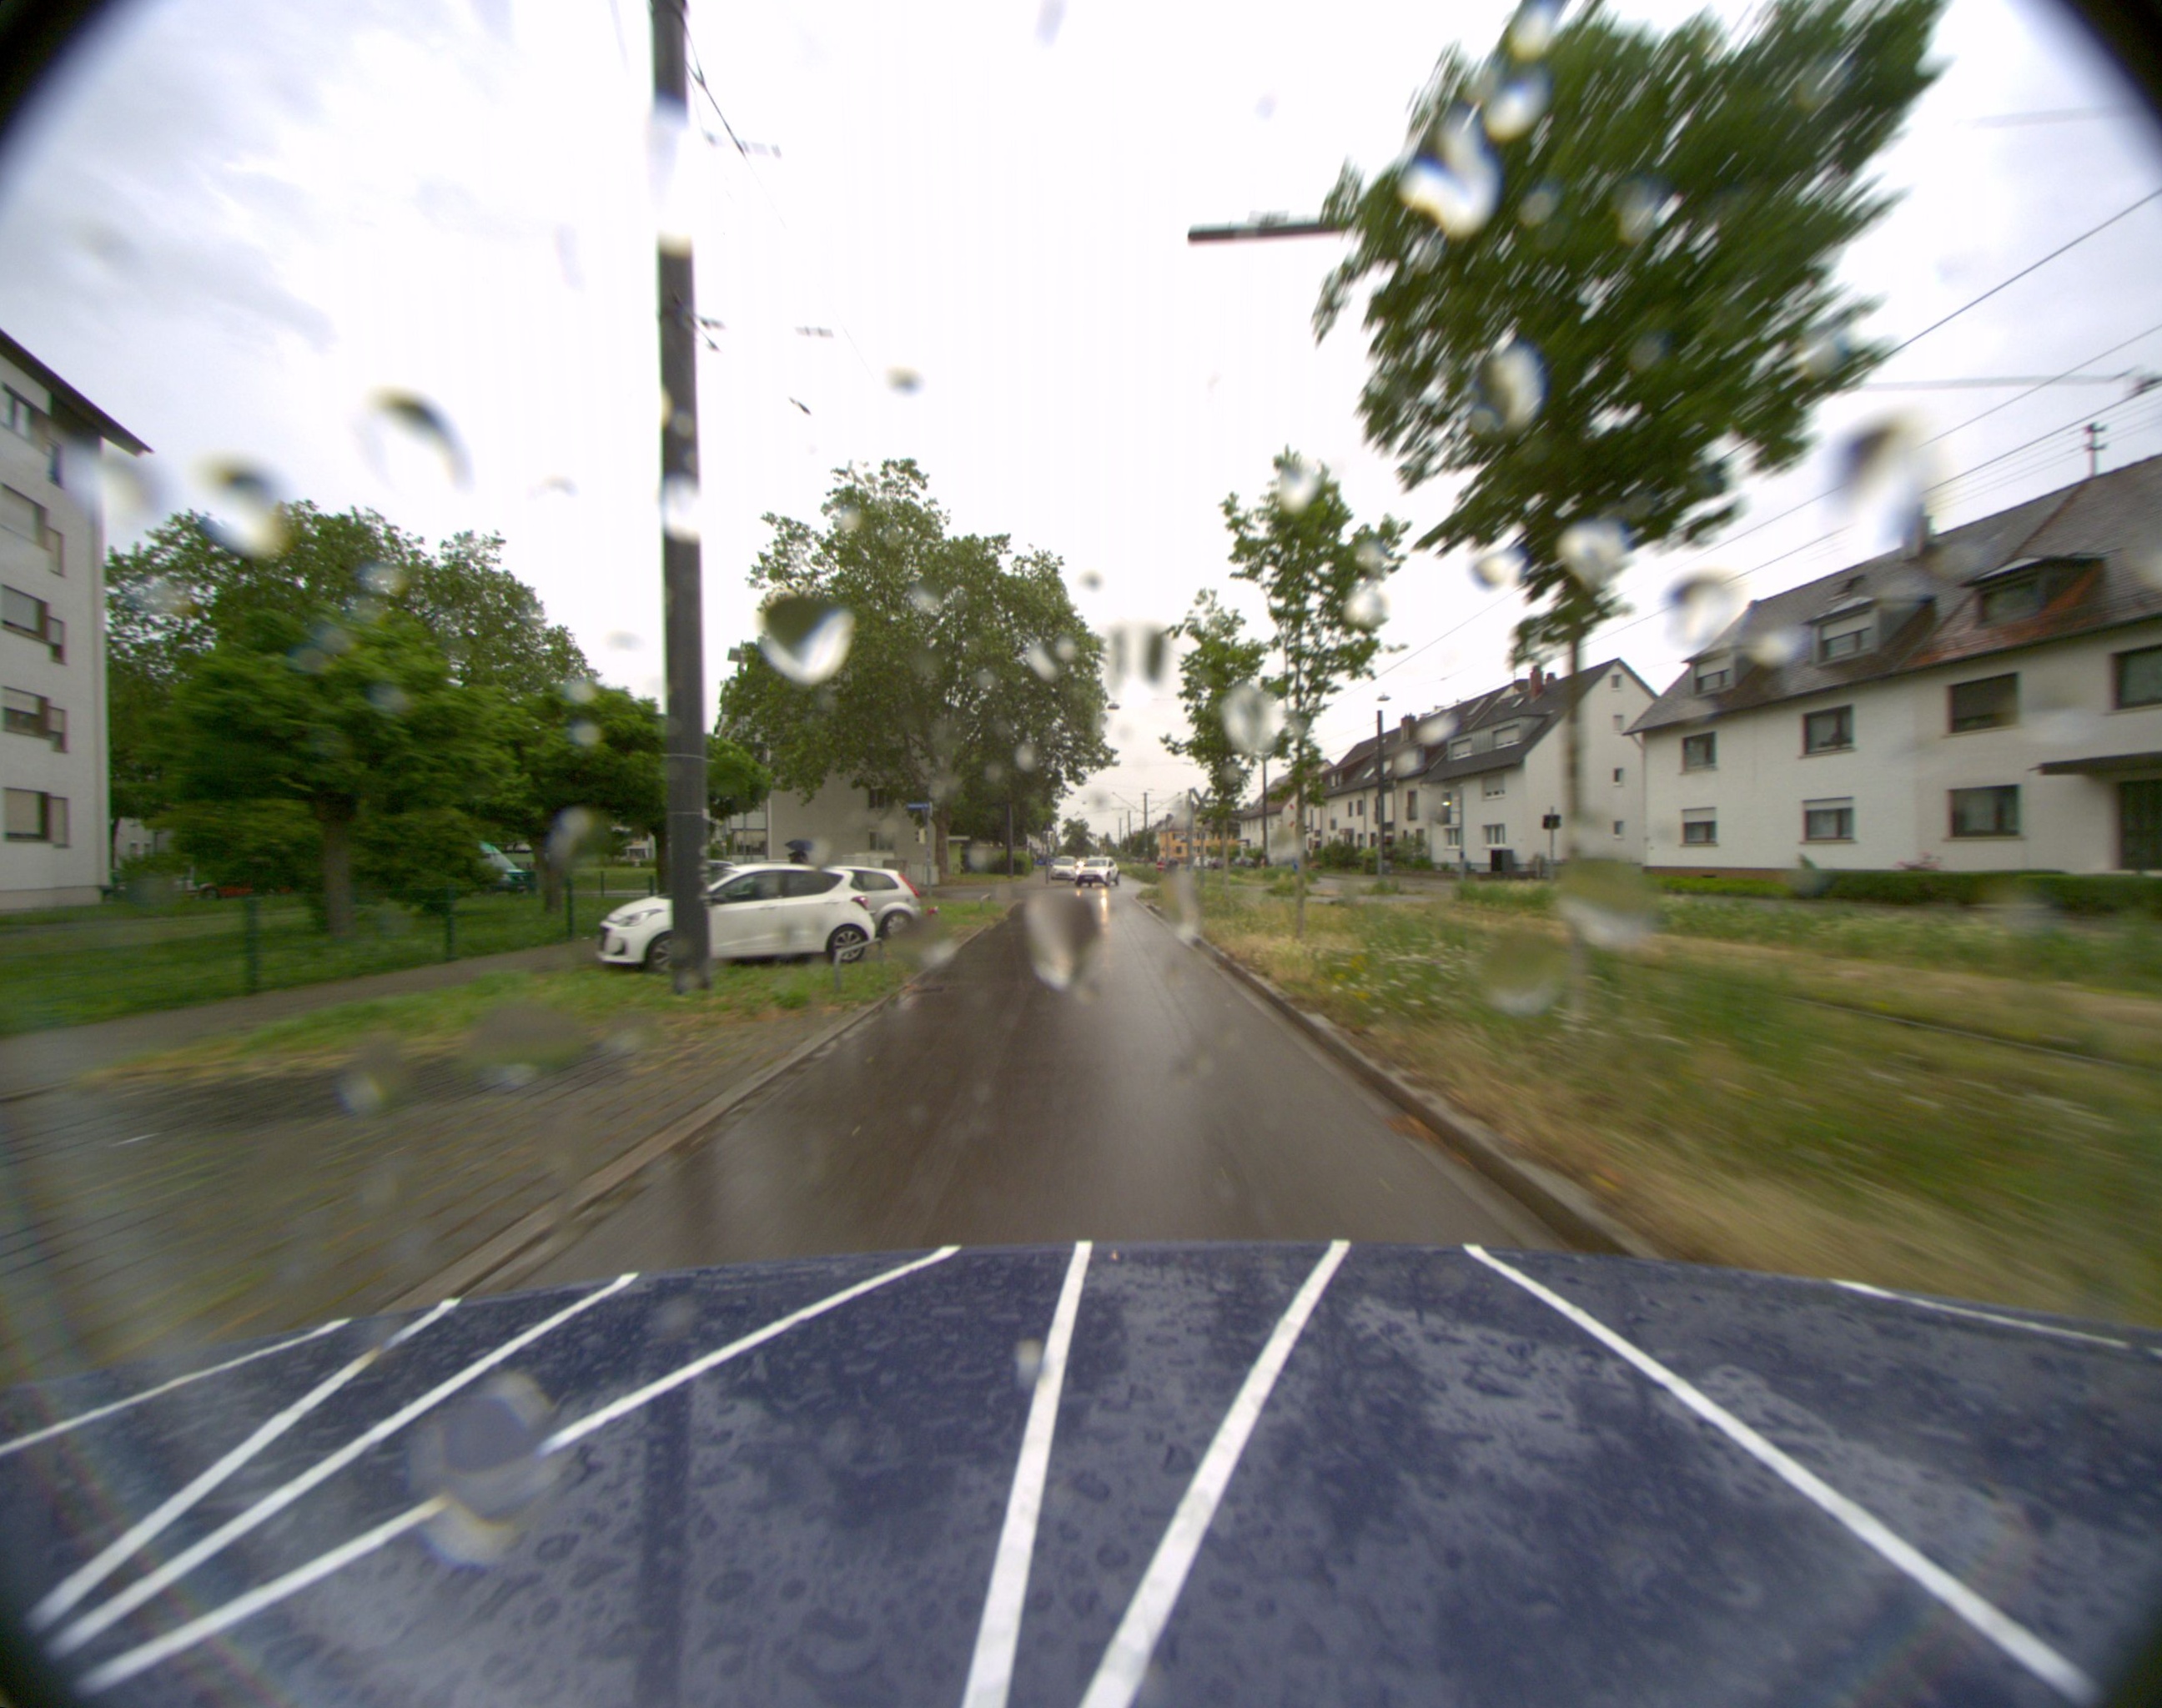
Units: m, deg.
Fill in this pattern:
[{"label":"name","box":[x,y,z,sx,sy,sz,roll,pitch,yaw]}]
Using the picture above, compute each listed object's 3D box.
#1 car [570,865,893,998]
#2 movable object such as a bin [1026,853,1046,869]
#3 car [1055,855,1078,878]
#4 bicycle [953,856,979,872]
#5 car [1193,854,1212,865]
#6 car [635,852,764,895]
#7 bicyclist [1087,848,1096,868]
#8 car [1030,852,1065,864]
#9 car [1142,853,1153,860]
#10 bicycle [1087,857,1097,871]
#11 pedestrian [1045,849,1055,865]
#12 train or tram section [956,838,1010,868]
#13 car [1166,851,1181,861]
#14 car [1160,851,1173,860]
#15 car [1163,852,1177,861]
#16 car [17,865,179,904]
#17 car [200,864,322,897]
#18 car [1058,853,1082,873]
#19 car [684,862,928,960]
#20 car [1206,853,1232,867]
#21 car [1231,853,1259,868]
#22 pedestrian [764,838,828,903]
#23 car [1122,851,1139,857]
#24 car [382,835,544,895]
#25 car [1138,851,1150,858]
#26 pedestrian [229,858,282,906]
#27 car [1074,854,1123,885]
[{"label":"car","box":[-5.004,0.966,11.134,4.008,1.499,1.700,0,2,-38]},{"label":"movable object such as a bin","box":[-4.149,0.669,69.432,1.155,1.432,1.472,-1,1,-40]},{"label":"car","box":[-1.009,0.838,52.852,1.562,1.510,3.999,0,0,-1]},{"label":"bicycle","box":[-8.713,0.773,57.500,1.864,1.135,0.532,-1,0,-25]},{"label":"car","box":[15.453,0.667,96.755,1.715,1.432,3.999,0,0,-2]},{"label":"car","box":[-15.512,0.759,31.006,4.303,1.671,1.871,0,1,3]},{"label":"bicyclist","box":[0.837,0.319,59.304,0.710,1.503,0.715,0,1,-1]},{"label":"car","box":[-4.172,0.491,93.713,4.007,1.518,1.715,0,1,-33]},{"label":"car","box":[14.139,0.542,162.282,1.885,1.423,4.076,0,0,-2]},{"label":"bicycle","box":[0.843,0.781,59.350,0.710,1.031,2.098,0,0,-1]},{"label":"pedestrian","box":[-3.294,0.324,80.875,0.865,1.764,1.017,0,1,-15]},{"label":"train or tram section","box":[-11.136,-0.126,85.634,2.763,3.320,6.382,-1,1,-44]},{"label":"car","box":[15.186,0.339,124.361,1.912,1.581,3.999,0,0,-1]},{"label":"car","box":[15.518,0.256,138.050,1.998,1.648,4.000,-2,1,1]},{"label":"car","box":[15.092,0.398,129.186,1.881,1.520,3.999,0,0,-1]},{"label":"car","box":[-39.796,1.203,30.824,4.304,1.497,1.685,0,1,0]},{"label":"car","box":[-39.092,1.229,36.277,4.001,1.497,1.740,0,0,3]},{"label":"car","box":[-0.967,0.717,63.828,1.905,1.566,4.111,0,0,-2]},{"label":"car","box":[-5.130,0.955,14.334,4.007,1.499,1.779,0,2,-35]},{"label":"car","box":[15.475,0.632,85.573,1.892,1.523,4.755,0,0,-2]},{"label":"car","box":[15.673,0.619,72.918,1.777,1.417,3.937,0,0,0]},{"label":"pedestrian","box":[-8.190,0.473,21.908,1.101,1.803,1.435,-1,1,11]},{"label":"car","box":[12.250,0.023,189.039,3.998,1.638,1.893,0,0,-4]},{"label":"car","box":[-29.780,0.520,36.749,6.133,2.762,2.187,0,0,3]},{"label":"car","box":[14.150,0.069,171.003,2.096,1.423,4.076,0,0,-2]},{"label":"pedestrian","box":[-31.367,1.048,28.887,1.181,1.758,0.720,-1,1,-2]},{"label":"car","box":[0.996,0.808,40.730,1.852,1.500,4.124,-1,0,11]}]
